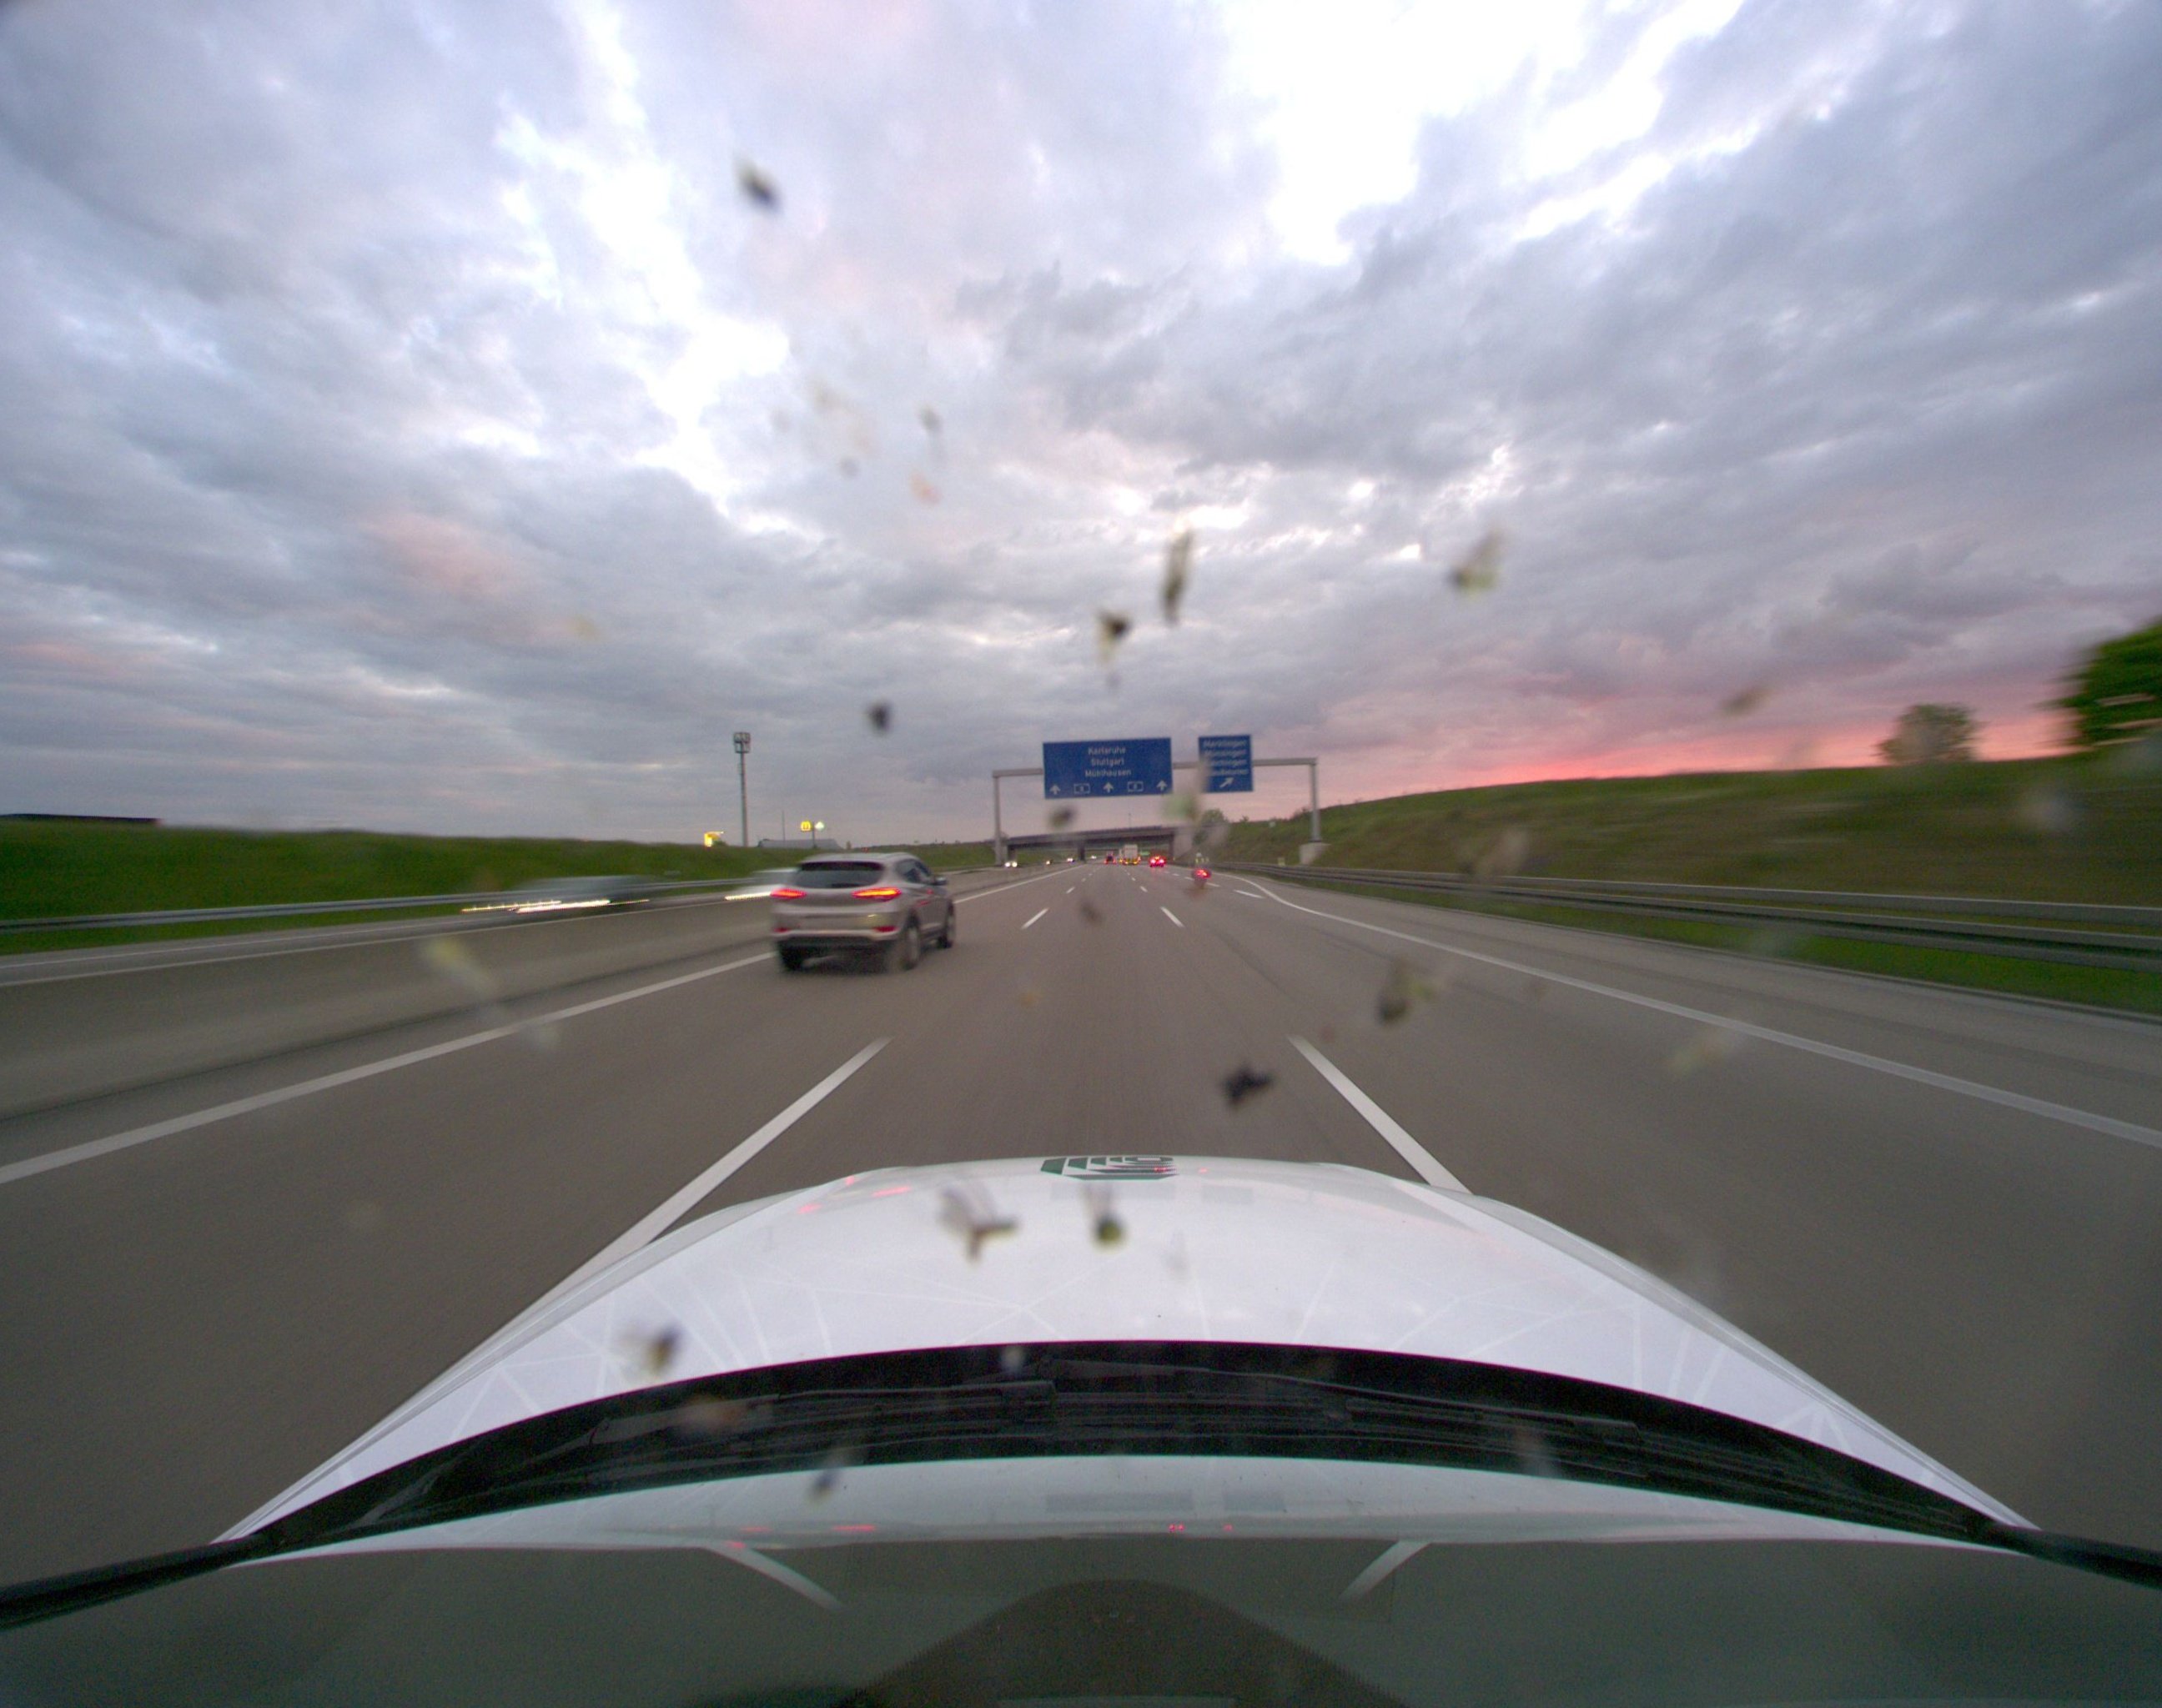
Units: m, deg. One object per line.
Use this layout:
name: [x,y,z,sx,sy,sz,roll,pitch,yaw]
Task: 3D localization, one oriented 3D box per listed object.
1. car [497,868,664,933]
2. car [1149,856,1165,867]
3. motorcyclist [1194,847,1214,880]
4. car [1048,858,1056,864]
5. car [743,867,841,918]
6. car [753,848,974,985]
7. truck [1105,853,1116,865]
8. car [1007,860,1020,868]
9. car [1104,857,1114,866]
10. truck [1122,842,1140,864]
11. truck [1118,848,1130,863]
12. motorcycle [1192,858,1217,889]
car: [-14.470,1.275,23.936,1.996,1.587,4.573,-2,0,1]
car: [11.151,1.123,119.663,1.911,1.579,4.001,-2,0,1]
motorcyclist: [5.735,0.442,38.018,0.862,1.487,1.169,-1,0,4]
car: [-7.658,1.873,213.551,1.812,1.628,4.003,-2,0,3]
car: [-10.375,1.333,29.622,1.742,1.597,4.646,-1,0,2]
car: [-3.121,0.793,13.078,1.845,1.692,5.515,-1,0,2]
truck: [8.133,1.338,225.532,2.941,3.217,8.409,-1,0,2]
car: [-13.292,1.971,160.313,1.986,1.602,5.200,-1,-1,1]
car: [7.165,1.916,209.414,2.507,2.391,6.498,-2,0,1]
truck: [9.801,-0.232,160.421,3.221,4.227,9.605,-1,0,3]
truck: [13.150,0.388,250.382,3.512,4.345,8.409,-1,0,2]
motorcycle: [5.757,0.887,38.073,0.898,1.346,2.350,-2,1,3]
